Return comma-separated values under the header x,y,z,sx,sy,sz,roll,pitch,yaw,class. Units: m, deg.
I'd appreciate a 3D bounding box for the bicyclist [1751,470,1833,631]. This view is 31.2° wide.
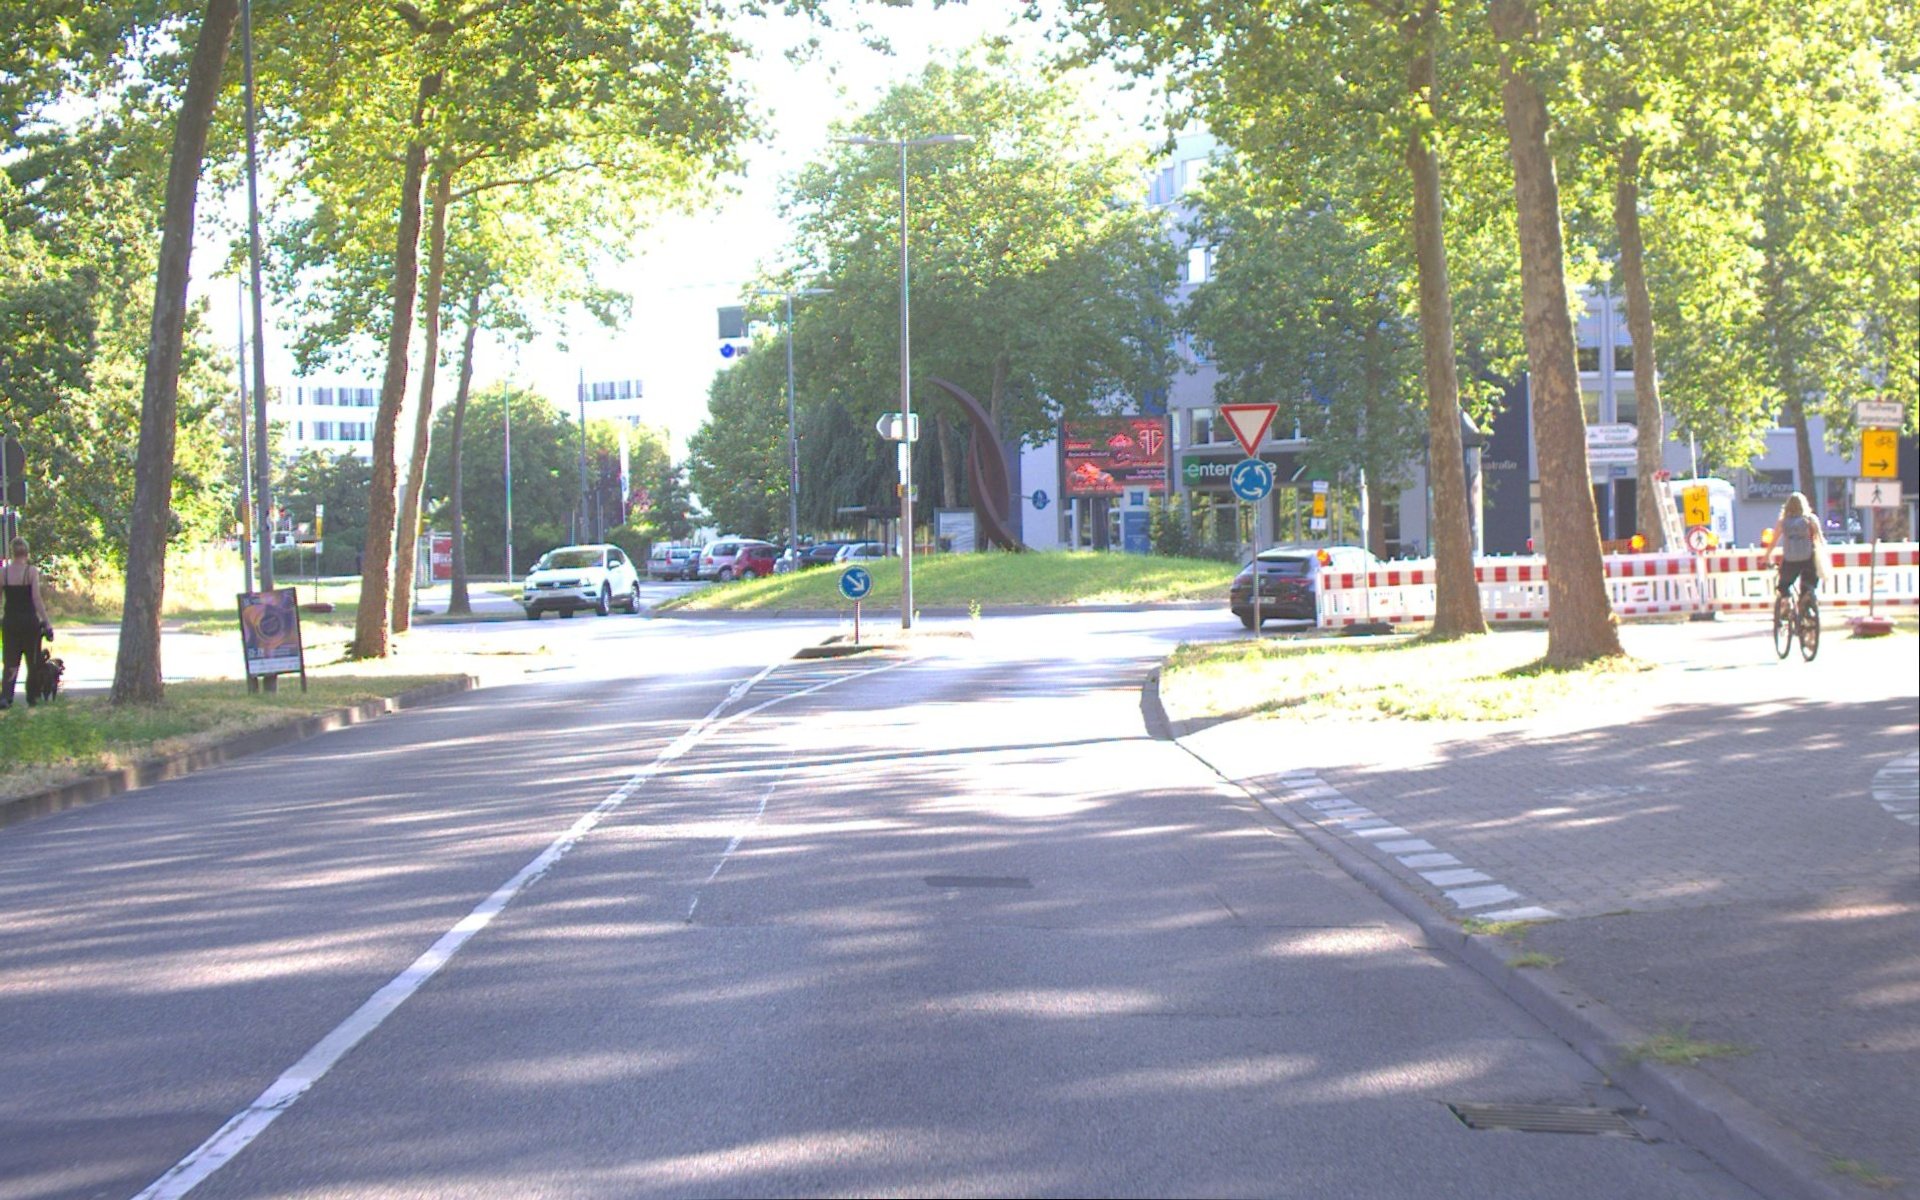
x,y,z,sx,sy,sz,roll,pitch,yaw,class
8.888,-0.536,36.745,0.651,1.699,0.871,0,1,0,bicyclist

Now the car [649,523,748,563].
x,y,z,sx,sy,sz,roll,pitch,yaw,class
-11.501,-2.527,151.276,3.987,1.741,1.795,0,1,-30,car

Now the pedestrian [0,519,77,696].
x,y,z,sx,sy,sz,roll,pitch,yaw,class
-9.332,0.068,34.351,0.748,1.733,0.852,-1,1,1,pedestrian

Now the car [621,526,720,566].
x,y,z,sx,sy,sz,roll,pitch,yaw,class
-12.912,-2.408,153.416,3.987,1.741,1.795,0,1,-30,car

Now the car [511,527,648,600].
x,y,z,sx,sy,sz,roll,pitch,yaw,class
-8.603,-0.847,78.057,1.994,1.573,3.998,-1,1,11,car

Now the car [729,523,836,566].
x,y,z,sx,sy,sz,roll,pitch,yaw,class
-7.250,-2.289,140.799,3.987,1.741,1.795,0,1,-30,car

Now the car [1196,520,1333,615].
x,y,z,sx,sy,sz,roll,pitch,yaw,class
5.438,-0.603,61.063,1.840,1.600,3.860,-1,1,14,car

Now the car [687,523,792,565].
x,y,z,sx,sy,sz,roll,pitch,yaw,class
-9.185,-2.335,143.149,3.987,1.741,1.795,0,1,-30,car

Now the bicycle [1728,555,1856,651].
x,y,z,sx,sy,sz,roll,pitch,yaw,class
8.891,0.025,36.813,0.770,0.961,2.174,-3,0,-1,bicycle
